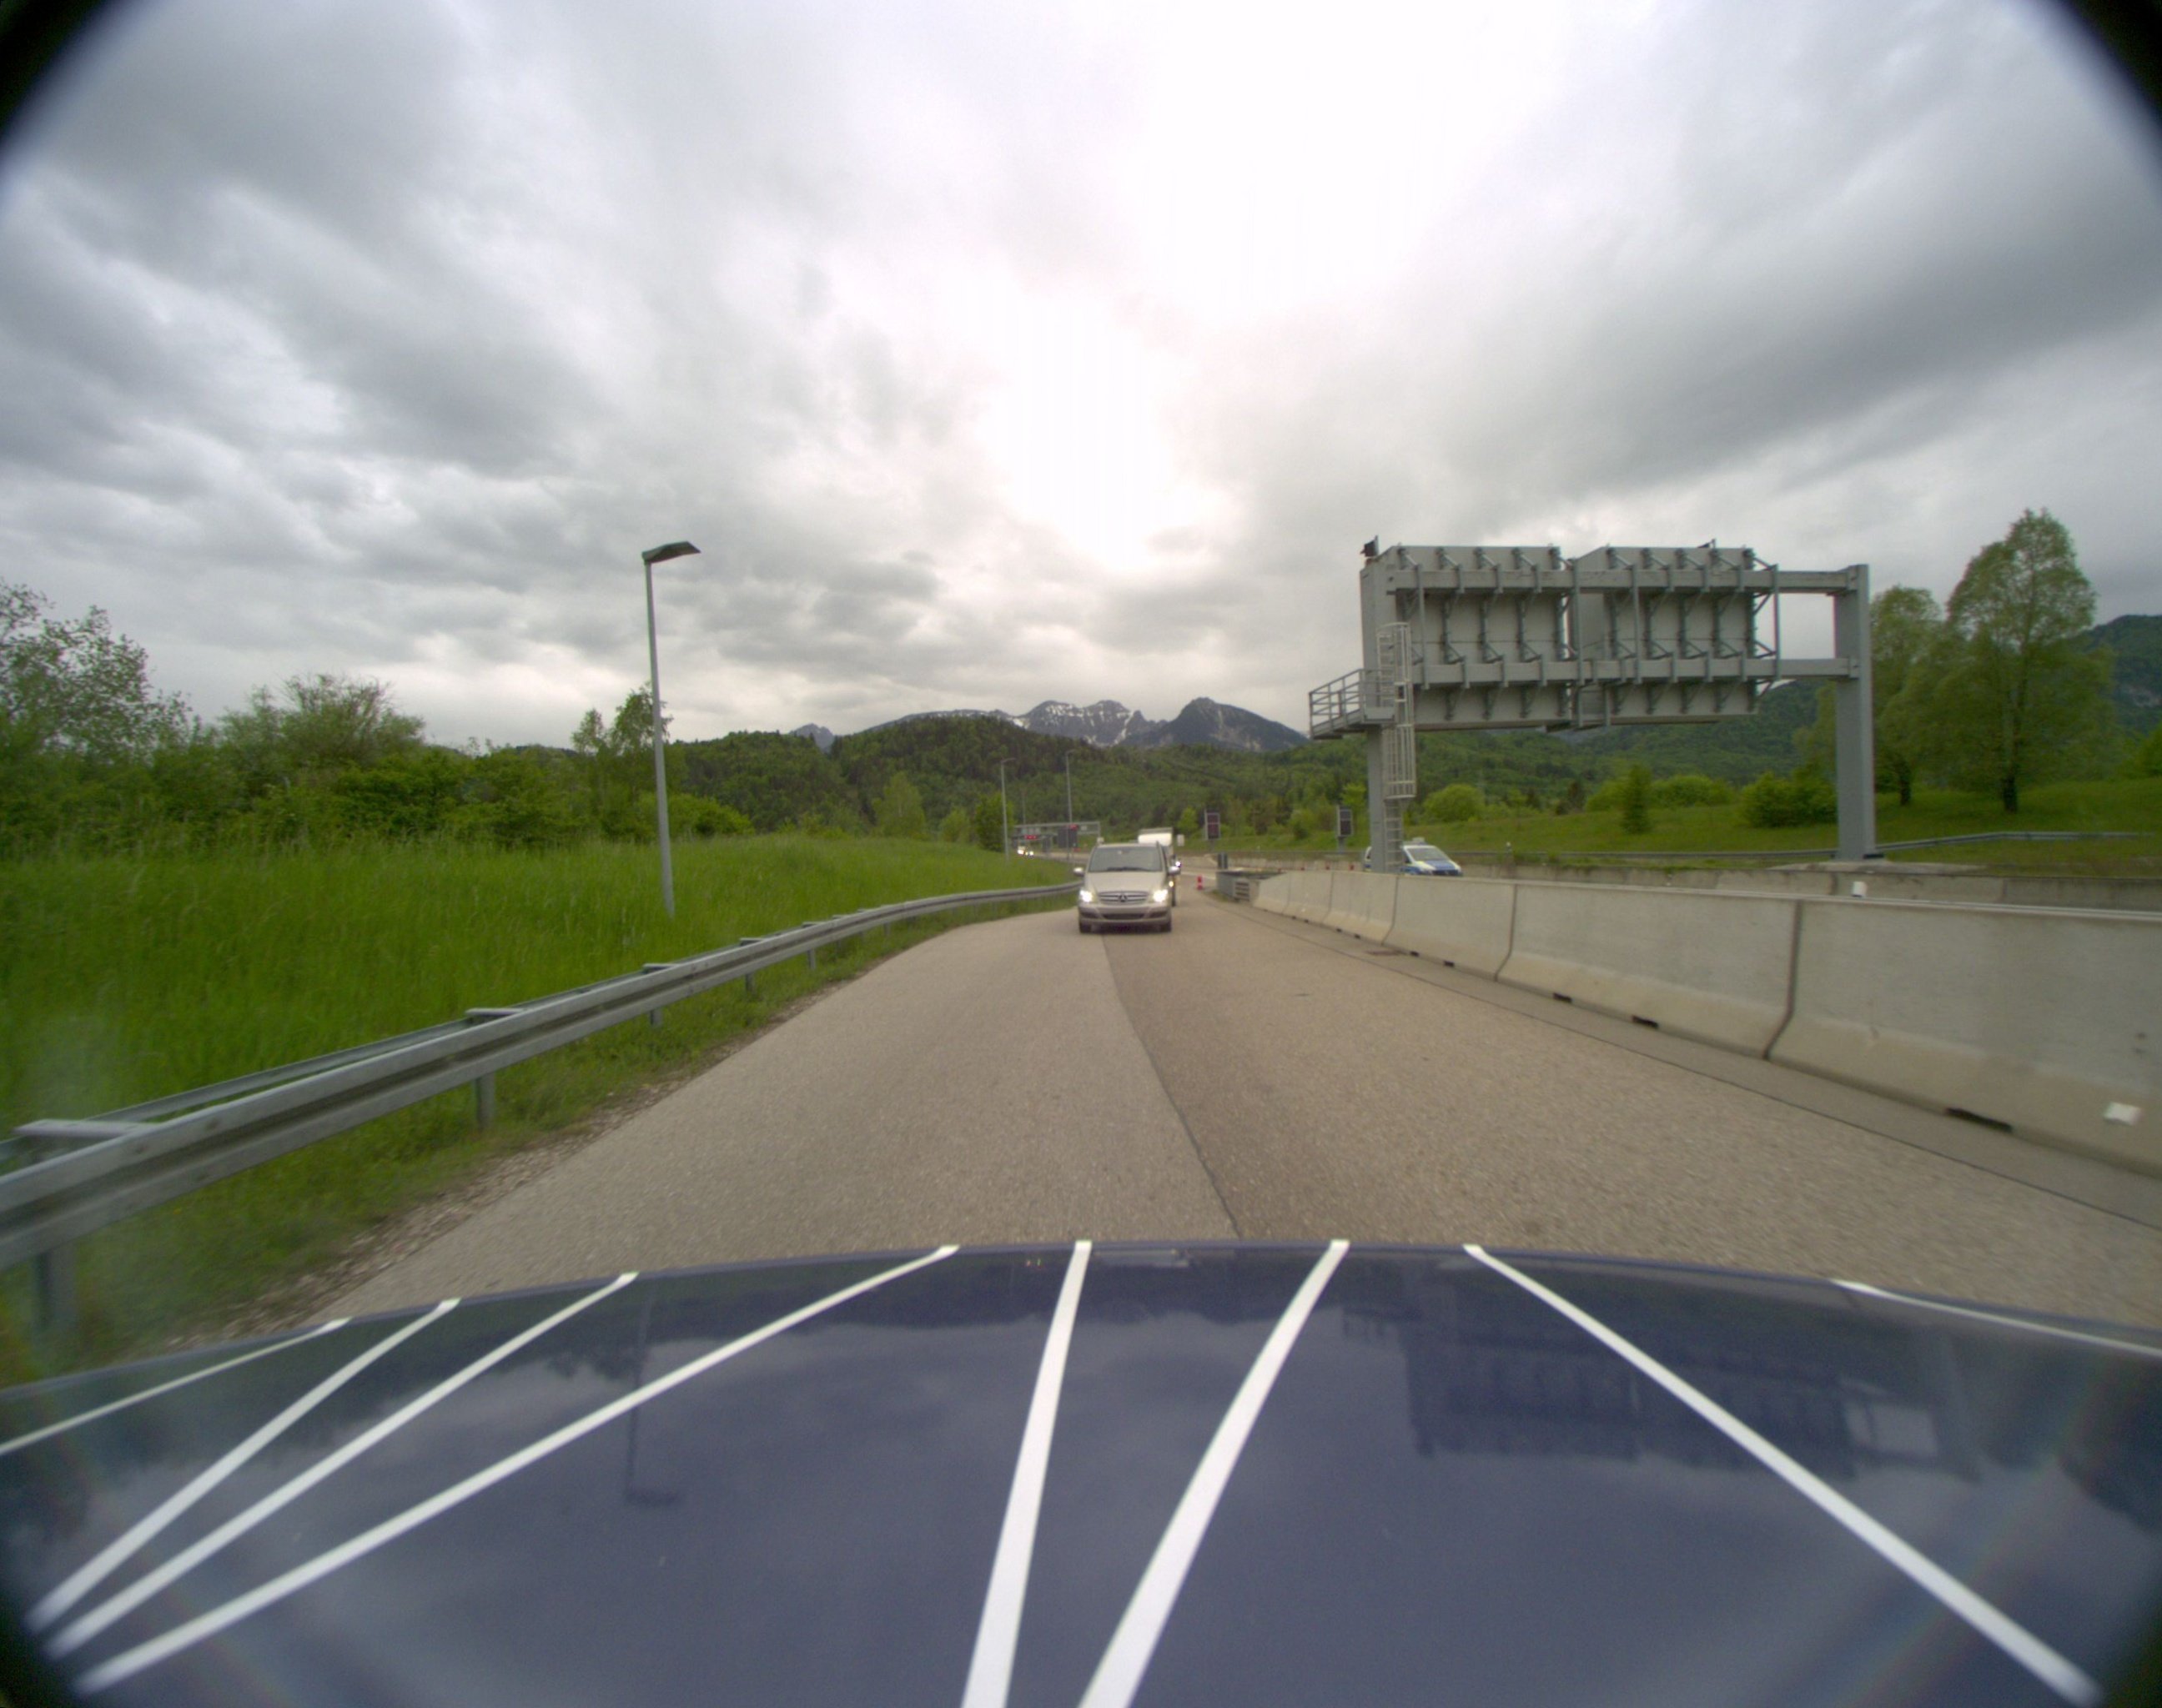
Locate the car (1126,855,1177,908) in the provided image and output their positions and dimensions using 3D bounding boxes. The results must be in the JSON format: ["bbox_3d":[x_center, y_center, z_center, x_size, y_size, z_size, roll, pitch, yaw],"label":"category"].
[{"bbox_3d":[2.459,0.880,25.994,1.590,1.662,4.002,-1,0,7],"label":"car"}]

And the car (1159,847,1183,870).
[{"bbox_3d":[7.436,0.348,63.227,1.741,1.755,4.001,-4,0,5],"label":"car"}]

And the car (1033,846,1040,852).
[{"bbox_3d":[-12.967,-1.547,219.413,1.738,1.646,3.997,-1,0,-7],"label":"car"}]

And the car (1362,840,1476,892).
[{"bbox_3d":[14.126,0.453,32.127,2.105,2.002,5.048,-1,1,-7],"label":"car"}]

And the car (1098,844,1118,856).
[{"bbox_3d":[3.468,-0.523,98.755,1.721,1.629,4.344,-1,1,-9],"label":"car"}]

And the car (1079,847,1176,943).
[{"bbox_3d":[1.190,0.762,17.446,1.861,1.833,5.619,0,1,6],"label":"car"}]

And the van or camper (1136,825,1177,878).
[{"bbox_3d":[5.263,-0.214,52.389,2.581,3.372,7.358,-1,1,6],"label":"van or camper"}]
